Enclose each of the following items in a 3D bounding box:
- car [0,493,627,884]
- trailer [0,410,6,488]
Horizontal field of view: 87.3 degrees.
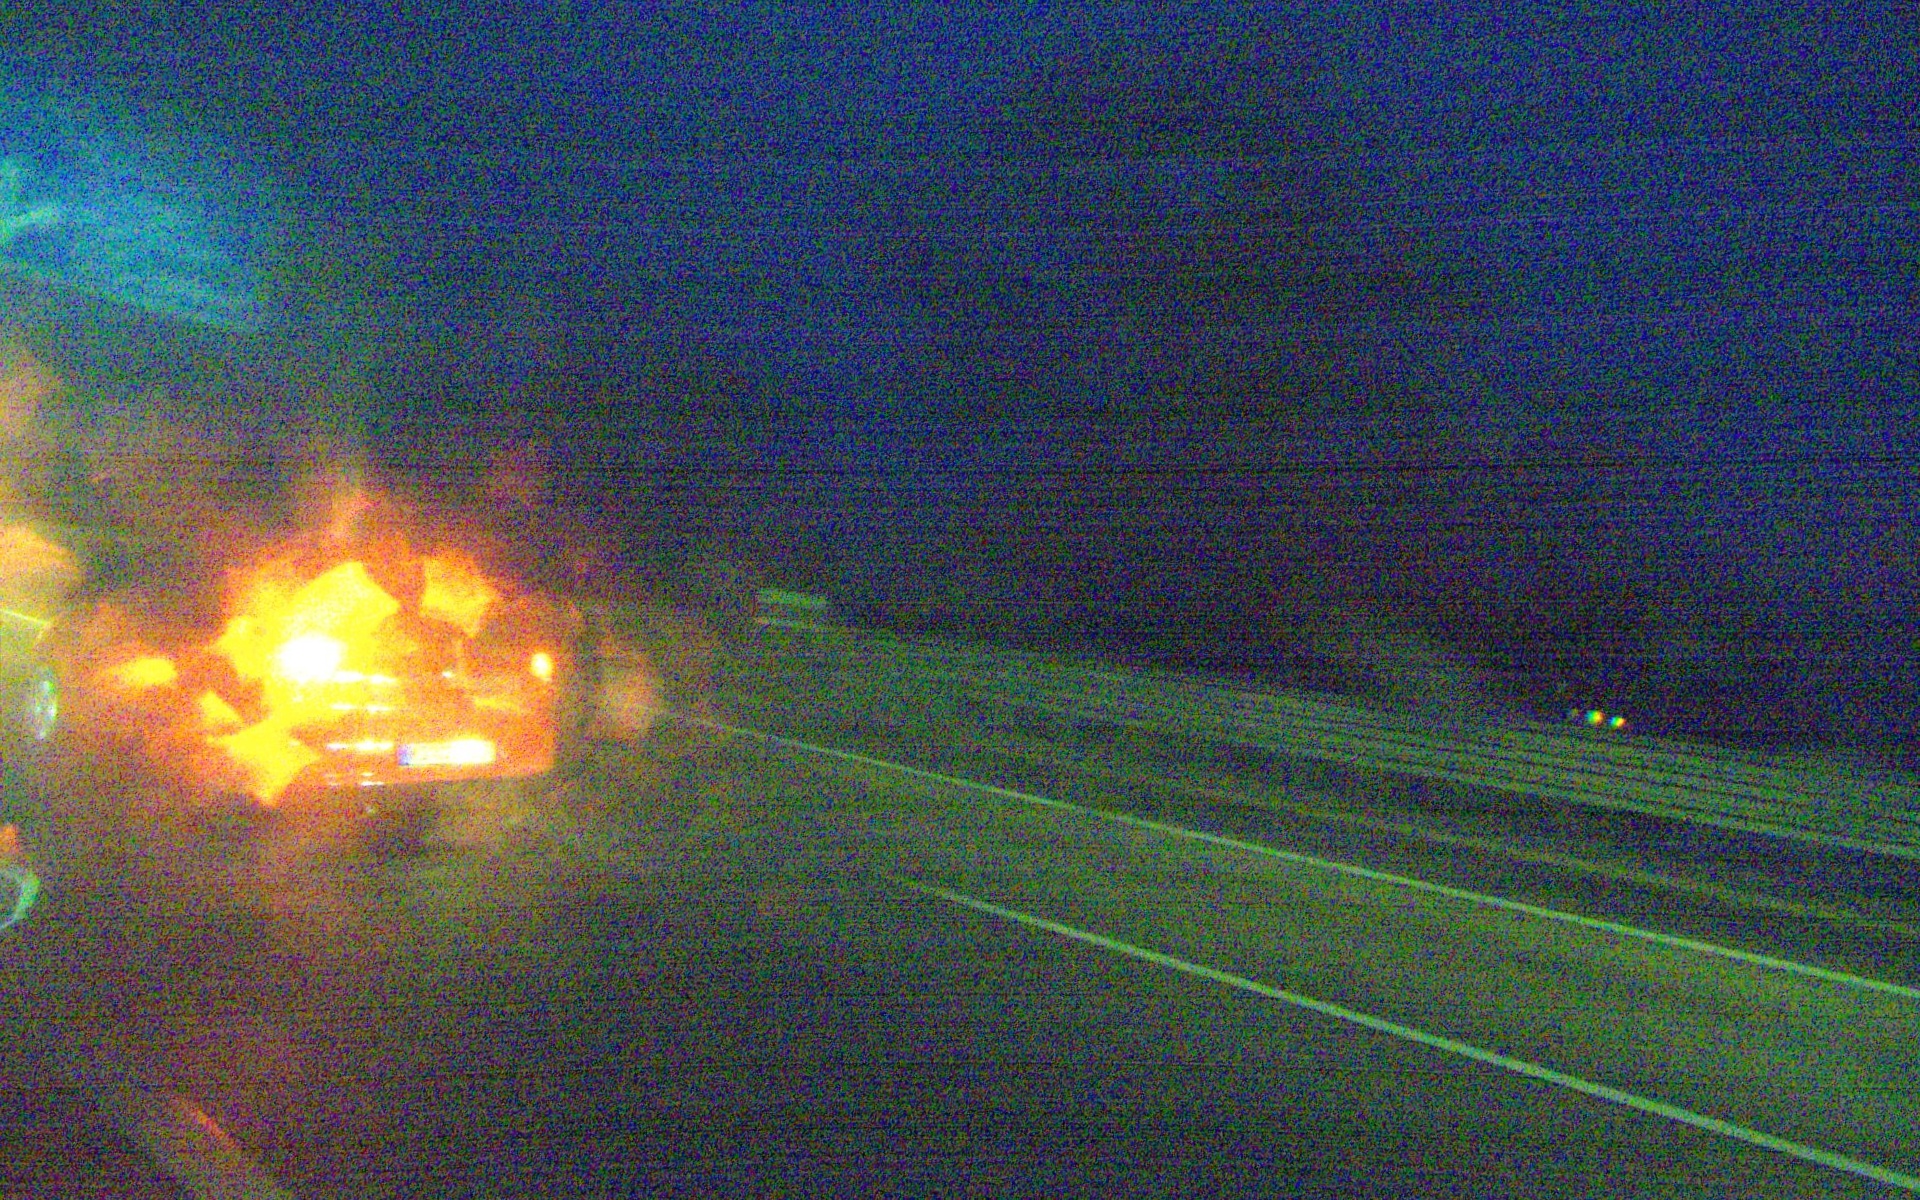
[{"bbox_3d":[-4.339,0.324,6.277,4.419,1.594,1.743,6,-1,31],"label":"car"},{"bbox_3d":[-31.172,-3.464,28.086,14.248,4.161,2.905,6,1,32],"label":"trailer"}]
